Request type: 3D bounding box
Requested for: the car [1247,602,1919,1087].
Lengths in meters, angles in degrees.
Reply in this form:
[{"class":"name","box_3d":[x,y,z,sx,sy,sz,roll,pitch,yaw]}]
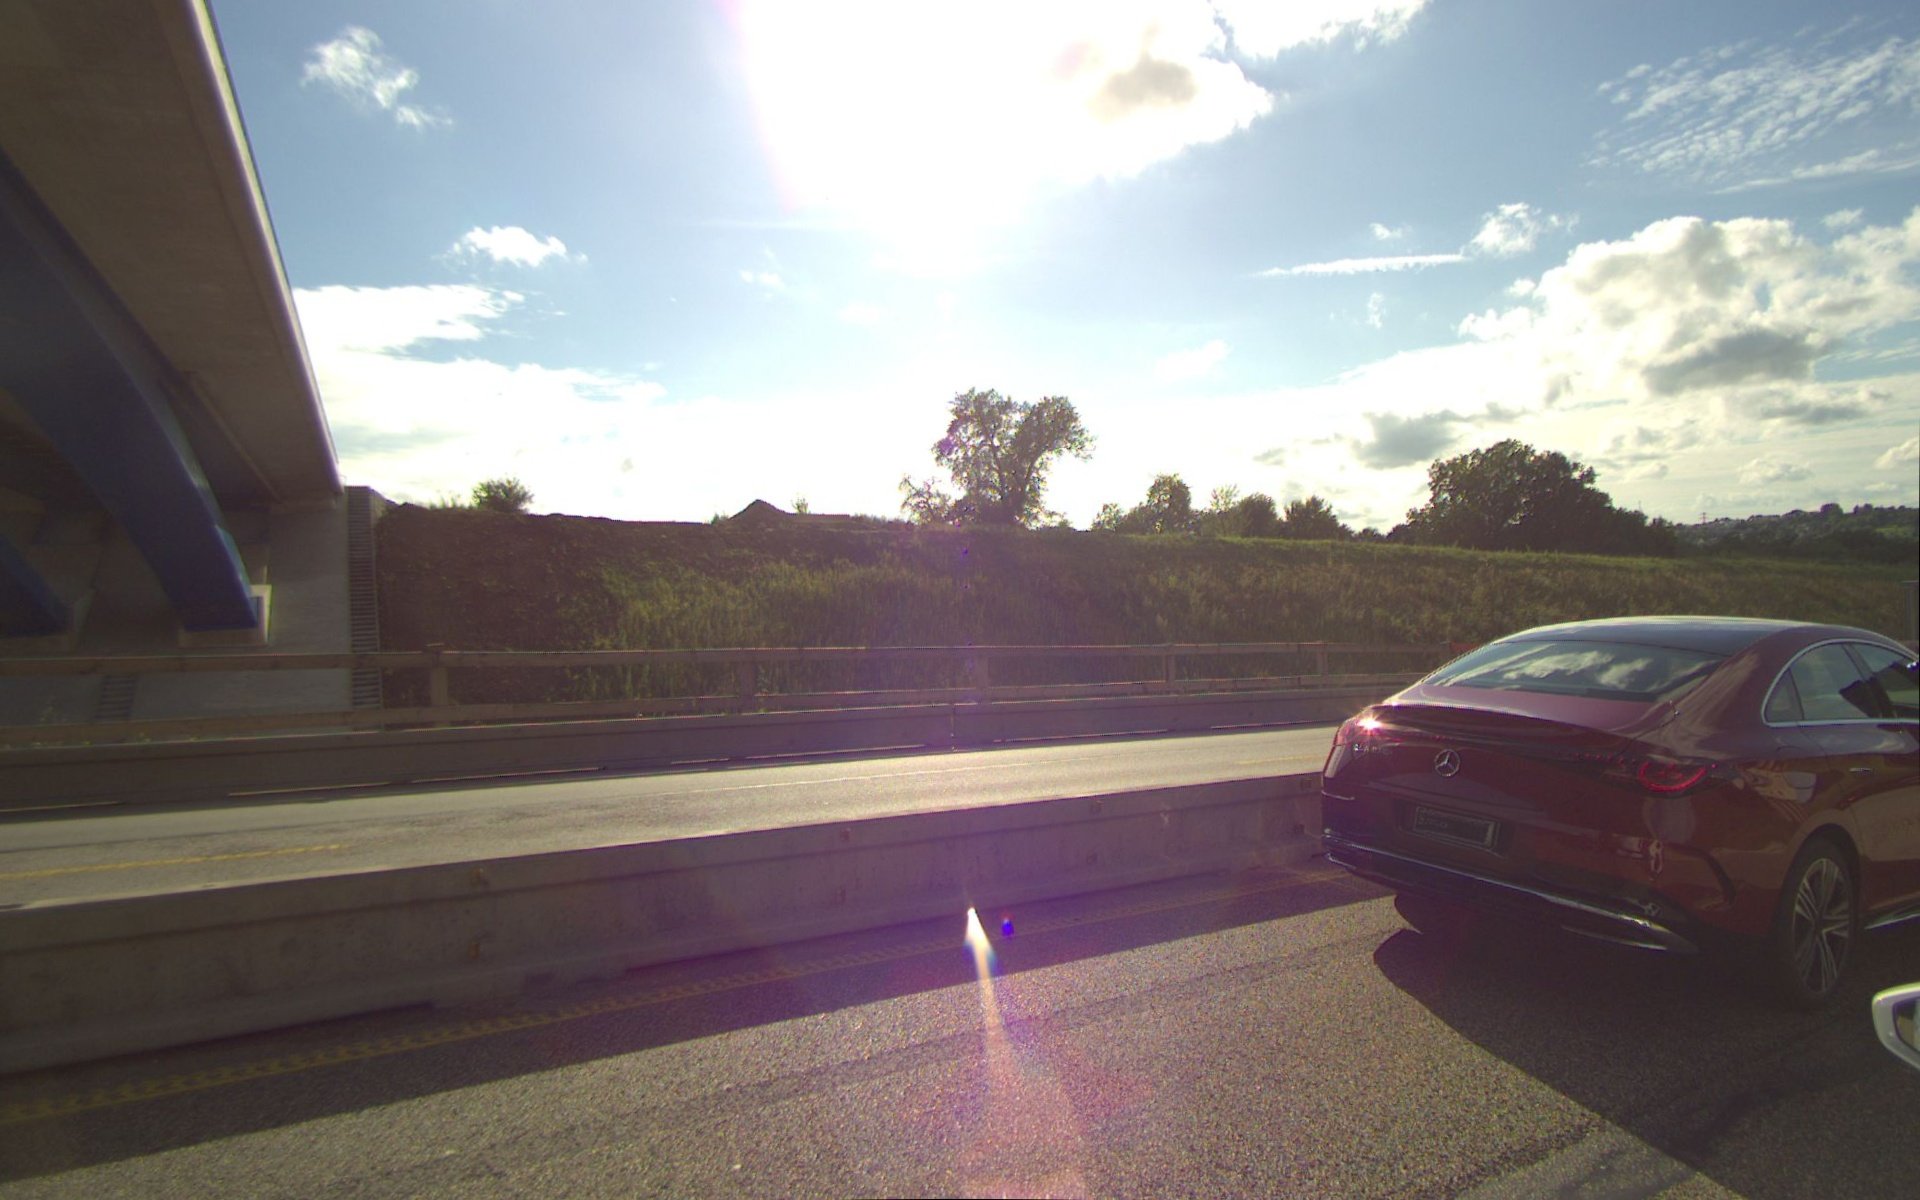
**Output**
[{"class":"car","box_3d":[3.806,0.791,5.098,4.628,1.512,1.815,1,0,-30]}]
